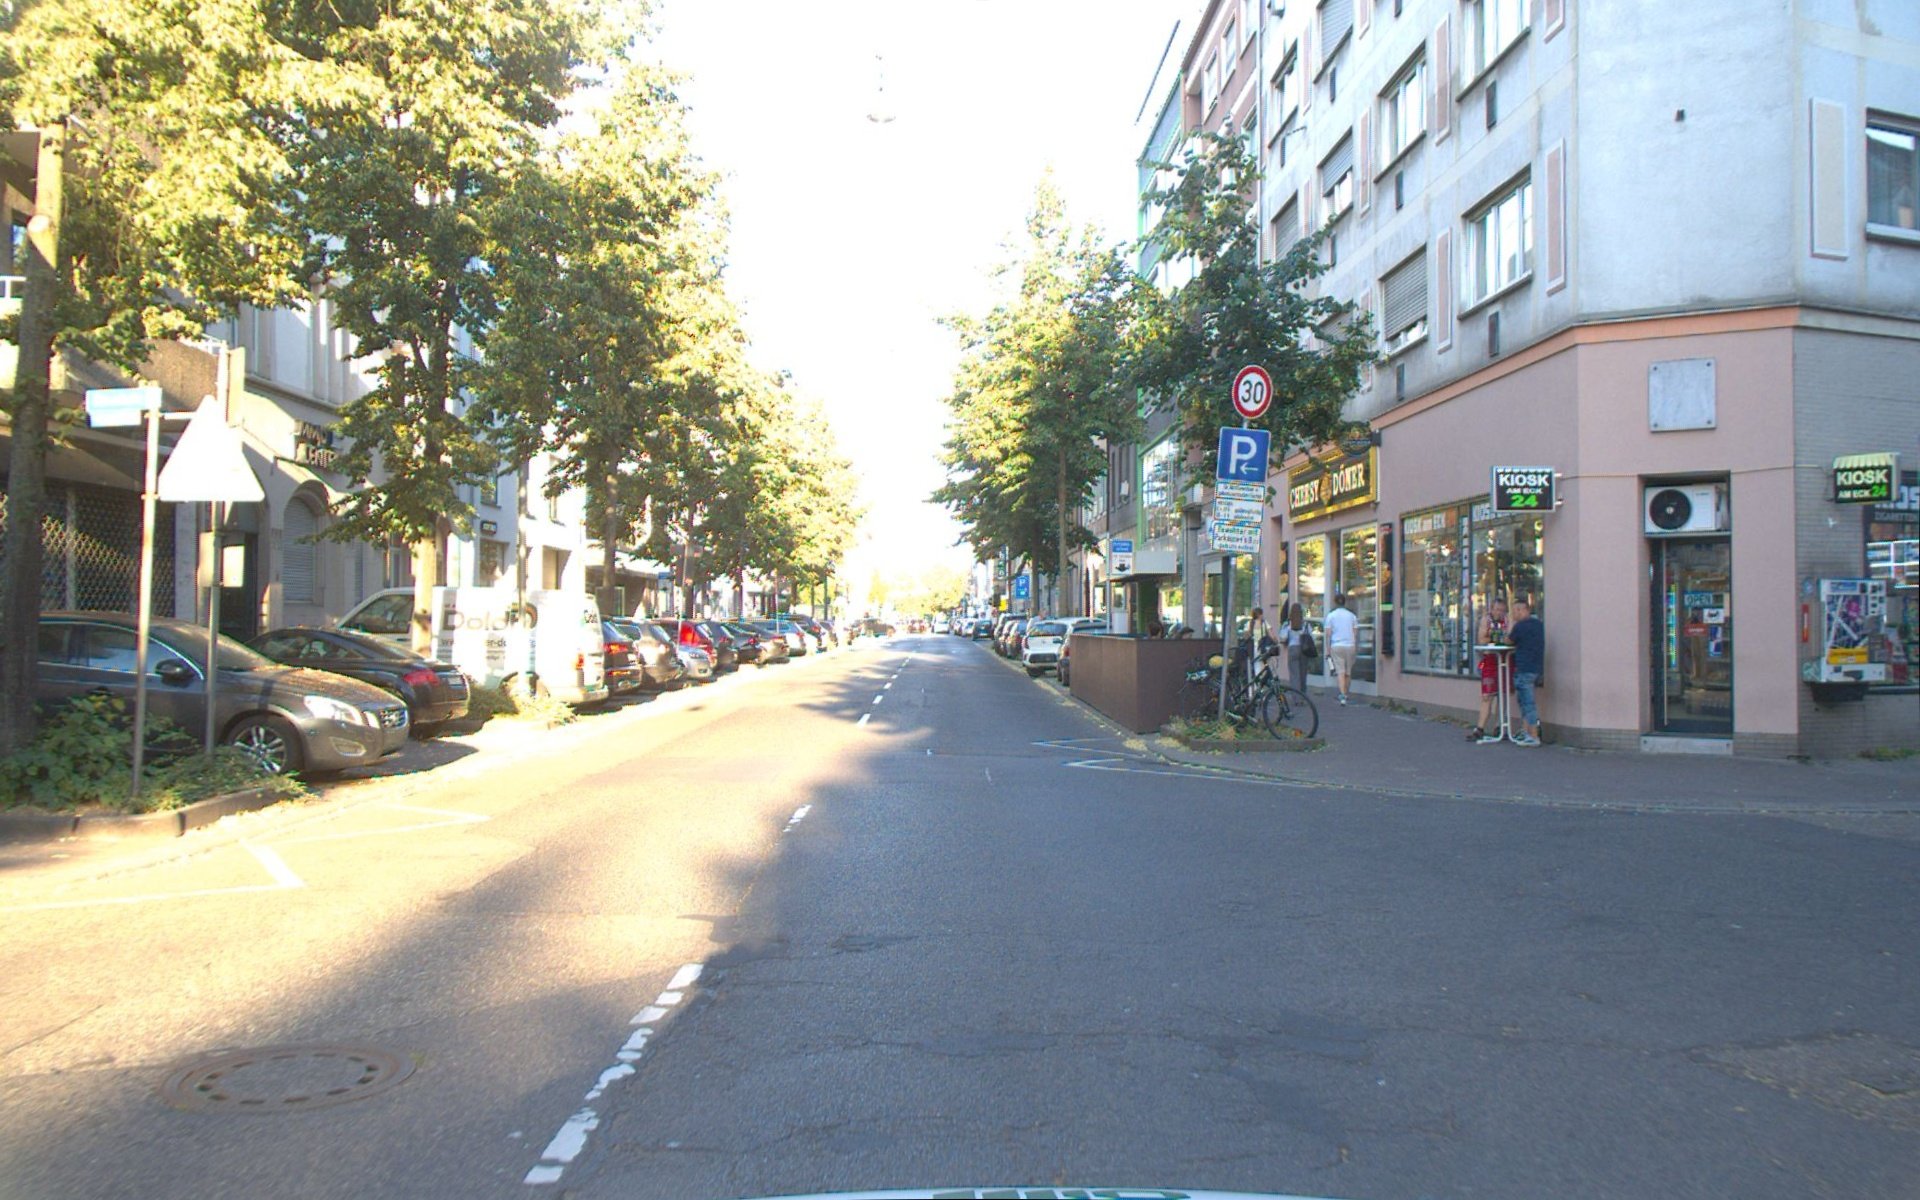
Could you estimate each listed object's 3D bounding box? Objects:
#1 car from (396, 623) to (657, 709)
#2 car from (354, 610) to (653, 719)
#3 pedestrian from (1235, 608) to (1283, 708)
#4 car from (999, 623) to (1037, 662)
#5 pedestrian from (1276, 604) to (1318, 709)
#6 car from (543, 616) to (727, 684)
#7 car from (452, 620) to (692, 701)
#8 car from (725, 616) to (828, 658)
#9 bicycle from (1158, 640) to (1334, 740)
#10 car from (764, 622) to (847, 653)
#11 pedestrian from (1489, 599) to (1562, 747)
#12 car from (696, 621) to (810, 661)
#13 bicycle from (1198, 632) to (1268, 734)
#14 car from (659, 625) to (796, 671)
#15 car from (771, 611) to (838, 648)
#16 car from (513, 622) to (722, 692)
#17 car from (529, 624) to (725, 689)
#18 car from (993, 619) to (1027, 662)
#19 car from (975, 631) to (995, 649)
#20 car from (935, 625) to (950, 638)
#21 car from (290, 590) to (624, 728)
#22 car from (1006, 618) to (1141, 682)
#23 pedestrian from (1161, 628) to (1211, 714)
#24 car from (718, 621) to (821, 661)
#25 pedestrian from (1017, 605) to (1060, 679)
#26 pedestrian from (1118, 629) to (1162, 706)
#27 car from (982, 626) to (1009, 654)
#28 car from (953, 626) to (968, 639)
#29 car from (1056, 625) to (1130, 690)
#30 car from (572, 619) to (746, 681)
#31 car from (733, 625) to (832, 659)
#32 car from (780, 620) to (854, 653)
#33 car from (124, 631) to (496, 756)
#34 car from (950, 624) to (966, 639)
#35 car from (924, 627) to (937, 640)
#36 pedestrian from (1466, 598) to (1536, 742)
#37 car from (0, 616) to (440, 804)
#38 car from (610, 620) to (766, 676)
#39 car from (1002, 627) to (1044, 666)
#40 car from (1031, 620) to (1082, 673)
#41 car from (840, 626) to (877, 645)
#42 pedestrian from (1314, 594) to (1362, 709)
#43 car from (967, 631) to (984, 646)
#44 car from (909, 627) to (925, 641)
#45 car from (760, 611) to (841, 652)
[{"bbox_3d":[-7.967,1.206,30.686,4.351,1.493,1.779,1,-1,0],"label":"car"},{"bbox_3d":[-7.654,1.072,28.070,4.478,1.727,2.060,1,-1,0],"label":"car"},{"bbox_3d":[5.047,0.961,27.908,0.779,1.654,0.913,0,-1,11],"label":"pedestrian"},{"bbox_3d":[2.409,1.750,69.353,1.482,1.589,3.513,0,-1,0],"label":"car"},{"bbox_3d":[5.554,0.918,27.298,0.617,1.709,0.892,0,-1,7],"label":"pedestrian"},{"bbox_3d":[-8.351,1.273,42.758,4.351,1.667,1.859,1,-1,0],"label":"car"},{"bbox_3d":[-7.705,1.203,33.138,4.351,1.533,1.844,1,-1,0],"label":"car"},{"bbox_3d":[-8.143,1.647,73.598,4.351,1.790,1.919,1,-1,0],"label":"car"},{"bbox_3d":[3.338,1.028,19.388,1.918,1.092,0.704,0,-1,31],"label":"bicycle"},{"bbox_3d":[-8.428,2.048,90.622,4.351,1.606,1.919,1,-1,0],"label":"car"},{"bbox_3d":[6.355,0.807,18.611,0.555,1.611,0.663,-2,0,-1],"label":"pedestrian"},{"bbox_3d":[-8.368,1.670,67.198,4.351,1.549,1.919,1,-1,0],"label":"car"},{"bbox_3d":[3.459,1.014,20.852,0.585,1.198,1.847,0,-1,18],"label":"bicycle"},{"bbox_3d":[-7.873,1.614,56.262,4.351,1.474,1.919,1,-1,0],"label":"car"},{"bbox_3d":[-10.415,1.978,111.002,4.351,2.478,1.919,0,-1,0],"label":"car"},{"bbox_3d":[-7.745,1.284,37.706,4.351,1.510,1.808,1,-1,0],"label":"car"},{"bbox_3d":[-7.993,1.349,40.006,4.351,1.484,1.859,1,-1,0],"label":"car"},{"bbox_3d":[2.282,1.857,75.848,1.482,1.897,4.234,0,-1,0],"label":"car"},{"bbox_3d":[1.861,2.954,123.523,1.482,1.298,3.303,0,-1,0],"label":"car"},{"bbox_3d":[-1.974,3.592,188.111,1.685,1.501,3.303,0,-1,0],"label":"car"},{"bbox_3d":[-7.612,0.884,25.368,4.479,1.996,1.990,1,-1,-1],"label":"car"},{"bbox_3d":[3.066,1.301,44.113,1.645,1.616,3.801,0,-1,41],"label":"car"},{"bbox_3d":[3.758,1.172,27.576,0.711,1.402,0.781,0,-1,-1],"label":"pedestrian"},{"bbox_3d":[-8.190,1.760,71.493,4.216,1.626,1.919,1,-1,0],"label":"car"},{"bbox_3d":[2.112,1.125,44.617,0.900,1.960,1.015,1,-1,-11],"label":"pedestrian"},{"bbox_3d":[3.343,1.252,30.754,0.711,1.402,0.781,0,-1,-1],"label":"pedestrian"},{"bbox_3d":[2.021,2.269,94.223,1.482,1.589,3.772,0,-1,0],"label":"car"},{"bbox_3d":[0.031,3.233,164.526,1.482,1.321,3.303,0,-1,0],"label":"car"},{"bbox_3d":[3.104,1.325,39.080,1.511,1.458,3.678,0,-1,1],"label":"car"},{"bbox_3d":[-8.127,1.352,44.991,4.351,1.595,1.919,1,-1,0],"label":"car"},{"bbox_3d":[-8.208,1.934,76.712,4.351,1.525,1.919,1,-1,0],"label":"car"},{"bbox_3d":[-8.716,2.227,100.937,4.351,1.994,1.919,0,-1,0],"label":"car"},{"bbox_3d":[-7.900,1.120,20.378,3.712,1.416,2.044,1,-2,2],"label":"car"},{"bbox_3d":[-0.217,3.320,175.691,1.716,1.567,3.303,0,-1,0],"label":"car"},{"bbox_3d":[-3.645,4.105,203.824,1.537,1.532,3.303,0,-1,0],"label":"car"},{"bbox_3d":[6.334,0.807,19.376,0.555,1.627,0.663,-2,0,-1],"label":"pedestrian"},{"bbox_3d":[-7.233,0.949,14.985,4.455,1.568,1.810,1,-1,-2],"label":"car"},{"bbox_3d":[-8.132,1.431,49.704,4.351,1.595,1.919,1,-1,0],"label":"car"},{"bbox_3d":[2.421,1.784,64.093,1.482,1.430,3.836,0,-1,0],"label":"car"},{"bbox_3d":[3.057,1.465,52.727,1.482,1.605,3.218,0,-1,0],"label":"car"},{"bbox_3d":[-8.702,3.048,142.351,1.888,1.599,3.302,0,-1,23],"label":"car"},{"bbox_3d":[6.122,0.826,26.807,0.683,1.836,0.892,0,-1,7],"label":"pedestrian"},{"bbox_3d":[1.311,3.310,141.718,1.482,1.285,3.303,0,-1,0],"label":"car"},{"bbox_3d":[-4.762,3.787,183.801,1.716,1.567,3.303,0,-1,0],"label":"car"},{"bbox_3d":[-8.921,1.757,92.937,4.351,2.238,1.919,1,-1,0],"label":"car"}]
